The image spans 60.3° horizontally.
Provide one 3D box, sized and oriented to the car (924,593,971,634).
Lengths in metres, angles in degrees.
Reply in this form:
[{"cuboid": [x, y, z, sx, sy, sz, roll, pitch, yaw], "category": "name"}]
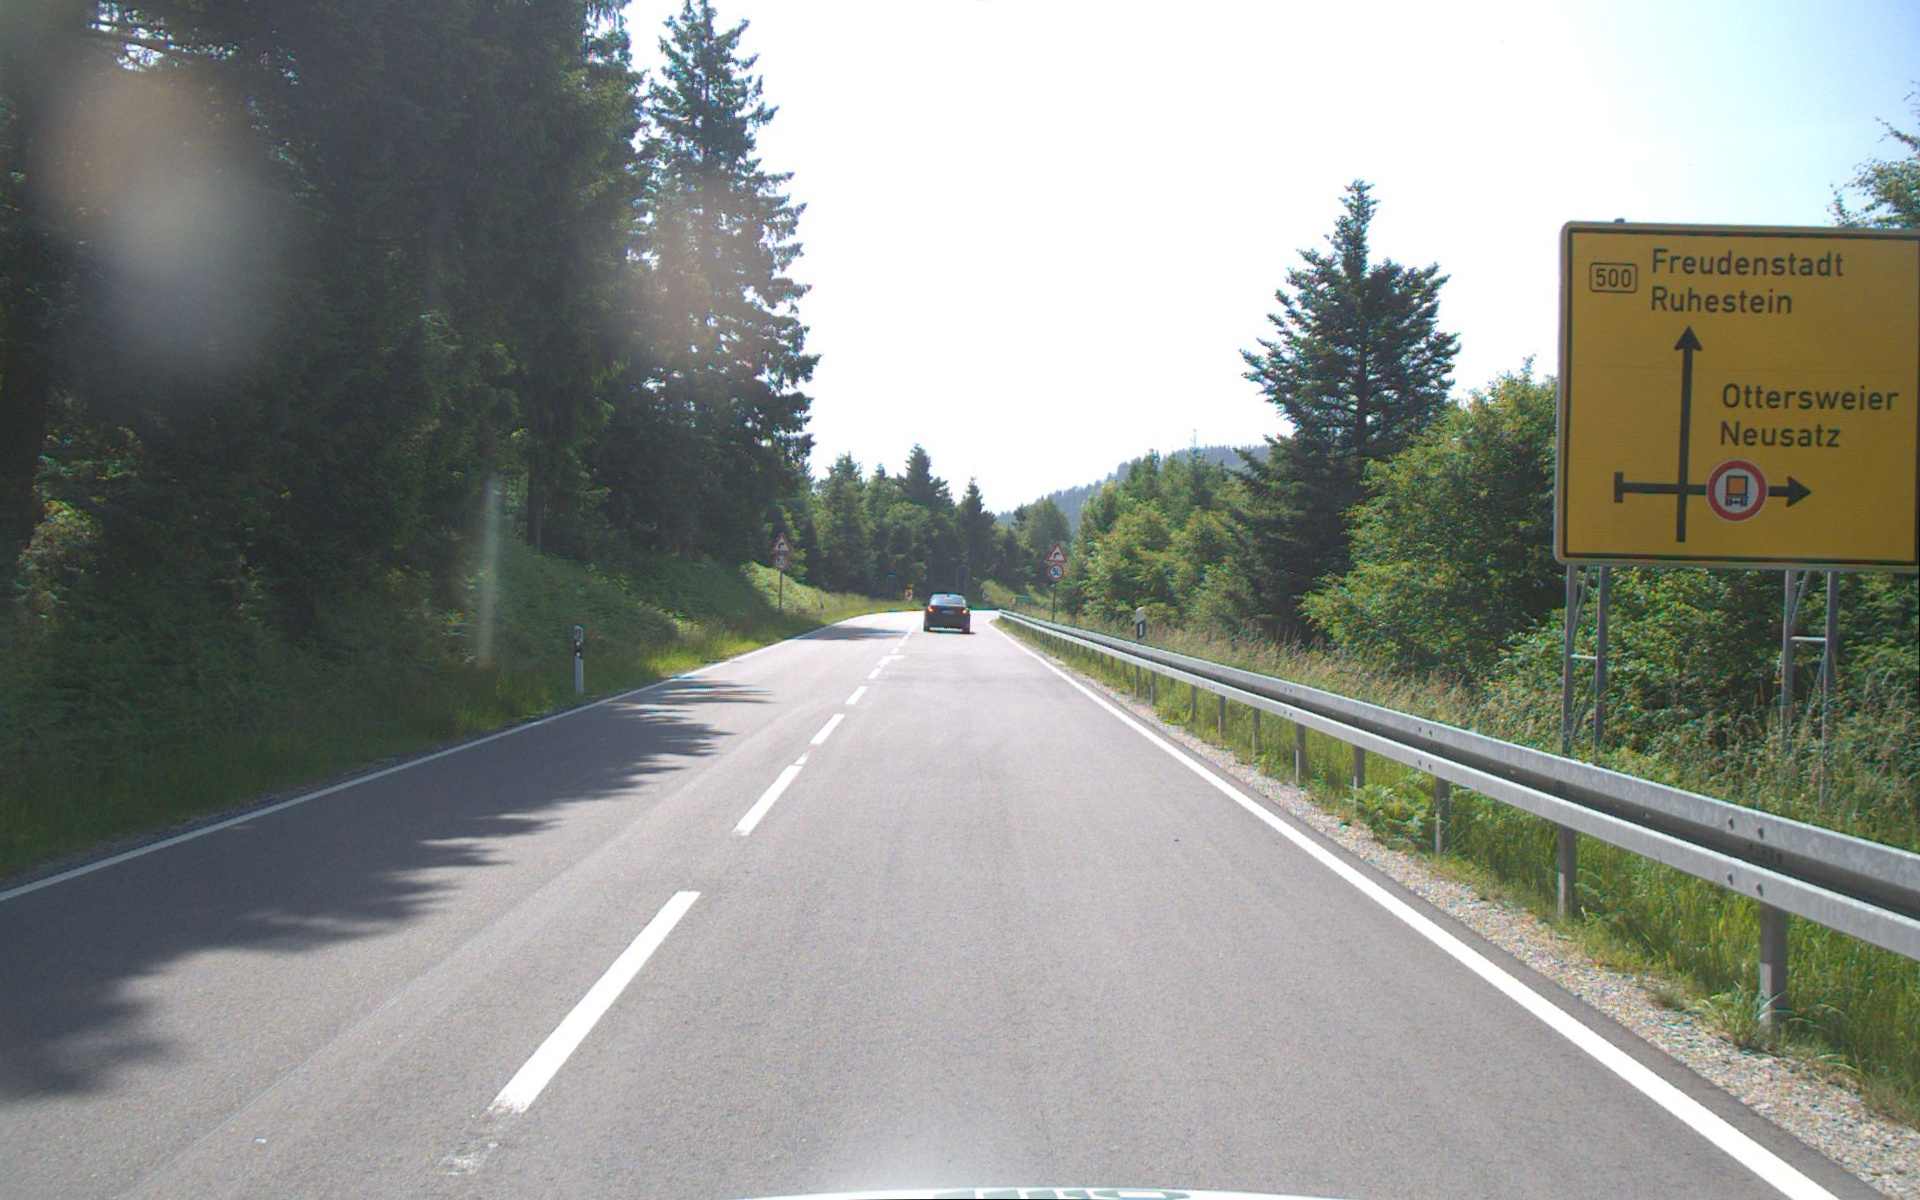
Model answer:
[{"cuboid": [-0.456, 0.507, 63.518, 1.739, 1.467, 3.709, 2, 0, 0], "category": "car"}]
